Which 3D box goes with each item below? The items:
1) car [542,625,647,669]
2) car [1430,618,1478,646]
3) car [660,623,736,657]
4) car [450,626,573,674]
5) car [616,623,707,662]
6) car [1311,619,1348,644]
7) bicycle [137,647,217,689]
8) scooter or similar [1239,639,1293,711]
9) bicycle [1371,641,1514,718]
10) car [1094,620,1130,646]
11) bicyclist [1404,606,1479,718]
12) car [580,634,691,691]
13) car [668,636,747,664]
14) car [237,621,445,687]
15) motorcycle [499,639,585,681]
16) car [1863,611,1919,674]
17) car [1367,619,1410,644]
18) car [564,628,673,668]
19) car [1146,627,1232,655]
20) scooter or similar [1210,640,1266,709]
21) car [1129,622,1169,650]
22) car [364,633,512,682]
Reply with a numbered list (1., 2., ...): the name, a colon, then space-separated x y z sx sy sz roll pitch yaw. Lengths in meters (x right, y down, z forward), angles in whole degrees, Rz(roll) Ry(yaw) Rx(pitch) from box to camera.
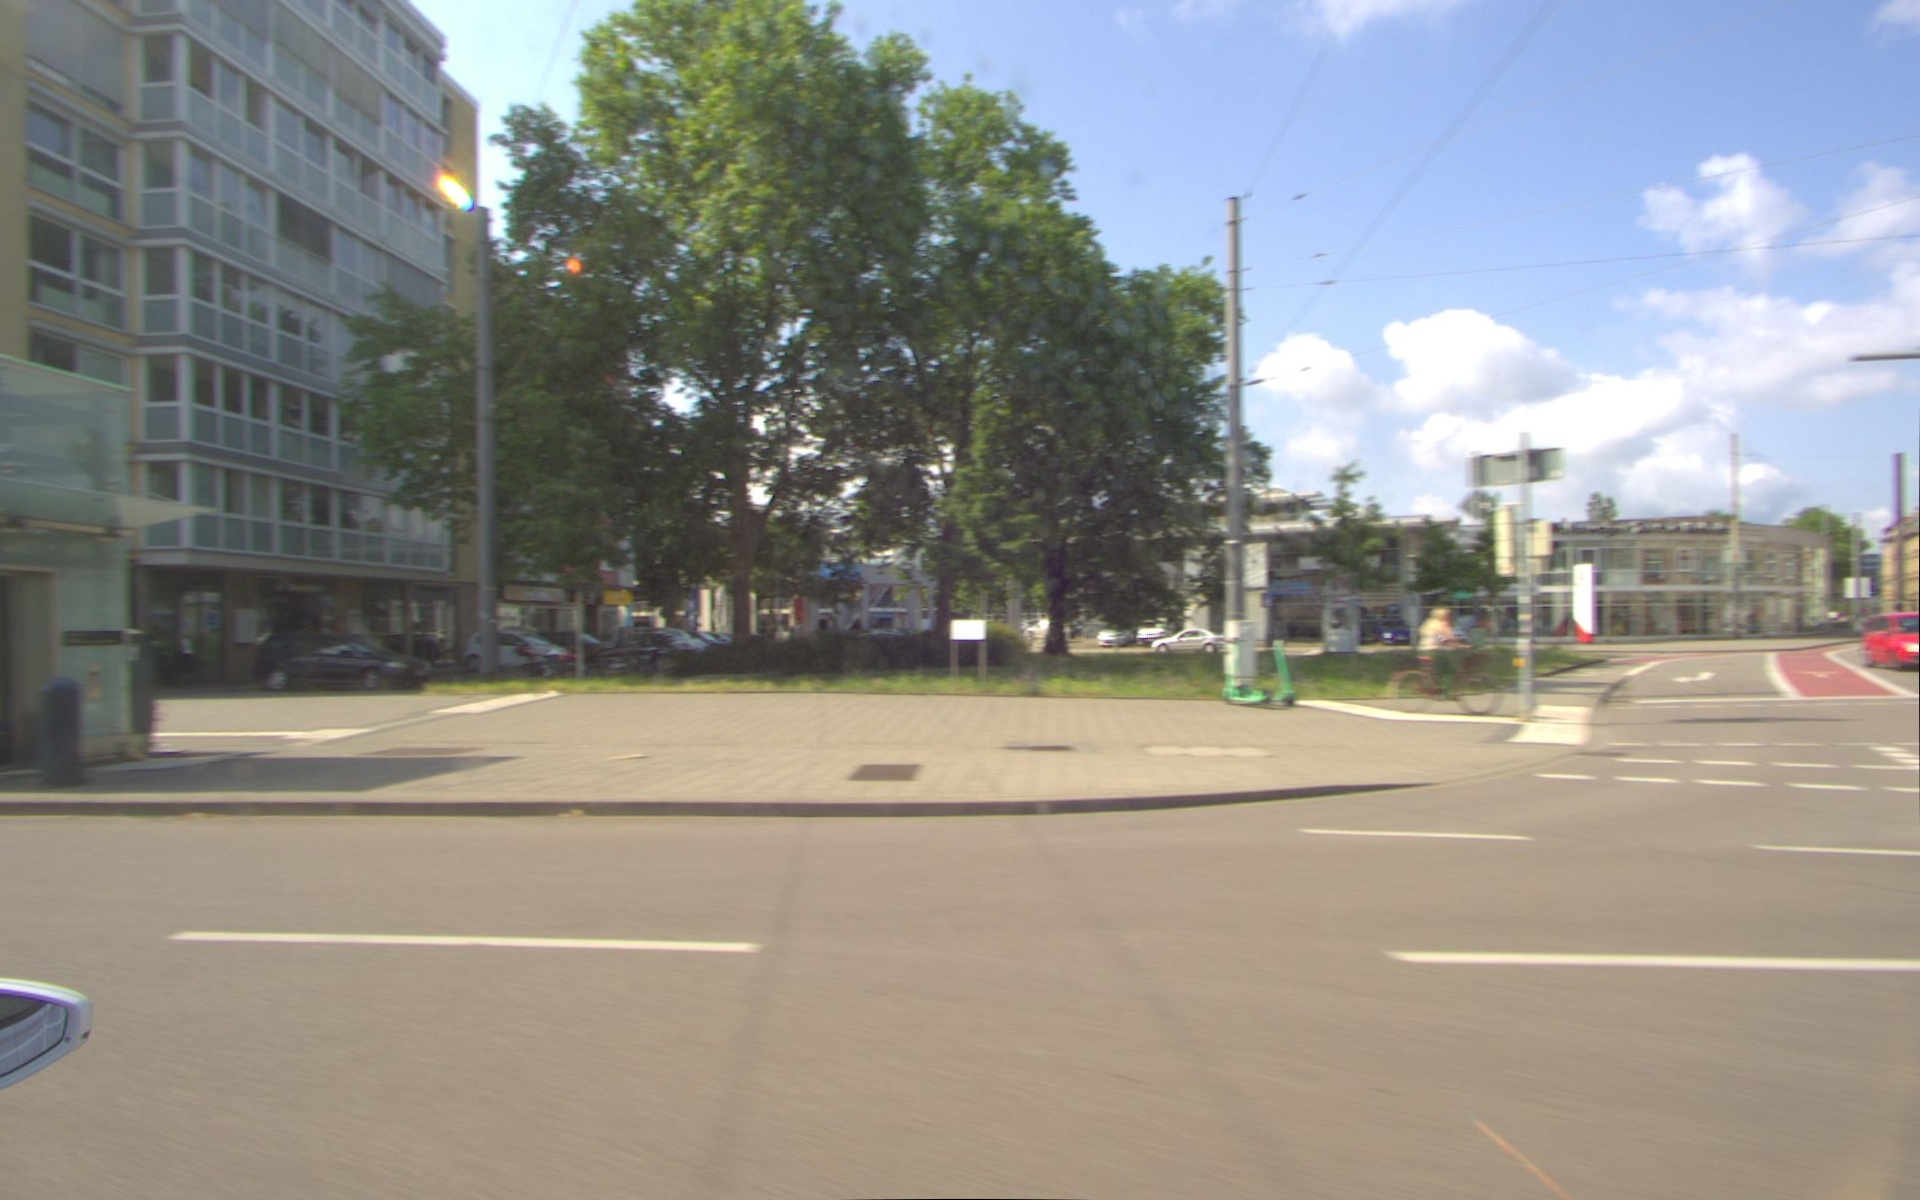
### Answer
1. car: -14.612 1.860 40.131 3.505 1.549 1.696 -3 -2 5
2. car: 29.685 1.916 60.229 1.891 1.572 3.995 -2 -1 17
3. car: -14.155 2.169 54.245 3.551 1.614 1.666 -3 -2 9
4. car: -16.229 1.801 36.362 3.505 1.549 2.001 -3 -2 5
5. car: -14.933 2.125 50.268 3.922 1.754 1.819 -3 -2 3
6. car: 22.665 1.920 61.525 1.891 1.463 3.995 -1 -1 16
7. bicycle: -20.771 1.792 26.612 0.668 1.033 1.781 -2 -1 2
8. scooter or similar: 5.285 1.275 17.282 0.917 1.173 0.379 0 1 -34
9. bicycle: 7.963 1.303 16.596 1.953 1.142 0.789 2 1 2
10. car: 10.315 2.203 67.653 1.963 1.594 3.997 -3 -2 14
11. bicyclist: 7.947 1.009 16.551 0.812 1.767 0.712 3 0 3
12. car: -10.031 1.895 31.290 1.762 1.439 3.998 1 1 7
13. car: -14.198 2.801 56.376 3.924 1.397 1.648 -3 -2 9
14. car: -16.266 1.406 26.440 4.307 1.605 2.001 -1 -2 4
15. motorcycle: -10.412 1.473 24.960 1.872 0.914 0.600 -2 0 -38
16. car: 25.990 1.086 27.044 1.976 1.538 3.972 -4 -2 38
17. car: 25.586 1.864 59.920 1.891 1.463 3.995 -1 -1 16
18. car: -14.406 2.024 42.401 3.922 1.482 1.871 -3 -2 3
19. car: 13.244 2.390 57.928 4.479 1.371 1.993 -4 -2 26
20. scooter or similar: 4.920 1.310 17.736 0.914 1.173 0.380 0 1 -22
21. car: 12.560 2.352 66.394 2.038 1.625 3.993 -3 -1 18
22. car: -16.633 1.833 32.004 3.923 1.343 1.586 -3 -2 5
